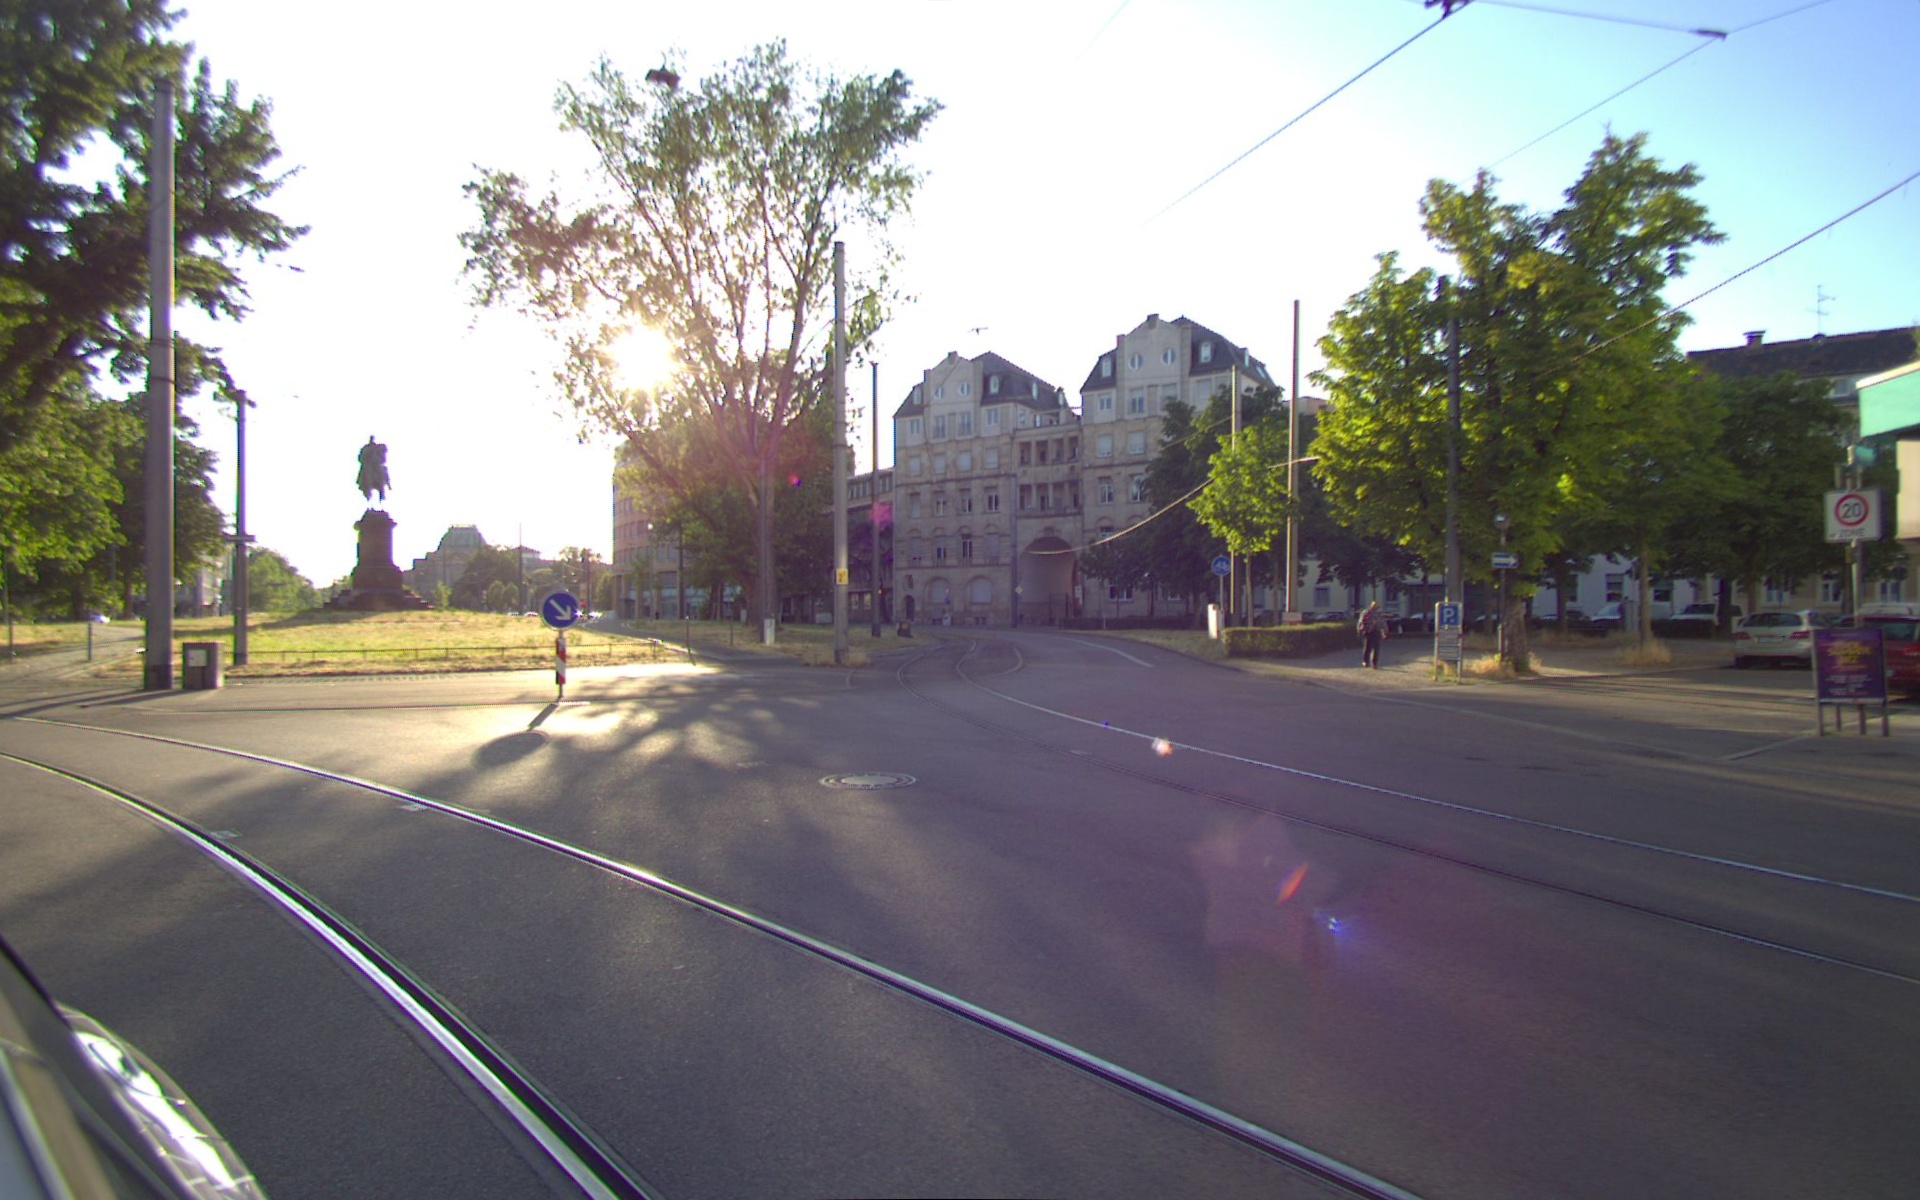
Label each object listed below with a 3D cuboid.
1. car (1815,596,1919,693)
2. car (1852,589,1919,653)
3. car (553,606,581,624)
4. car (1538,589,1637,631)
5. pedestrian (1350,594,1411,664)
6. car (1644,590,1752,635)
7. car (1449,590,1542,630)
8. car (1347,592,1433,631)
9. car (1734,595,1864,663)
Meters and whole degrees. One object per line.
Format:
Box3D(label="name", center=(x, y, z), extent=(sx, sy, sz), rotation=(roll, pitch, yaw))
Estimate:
Box3D(label="car", center=(16.683, 0.701, 17.133), extent=(3.931, 1.496, 2.034), rotation=(-1, 0, -28))
Box3D(label="car", center=(31.635, 0.646, 33.441), extent=(3.931, 2.029, 2.006), rotation=(0, 0, -29))
Box3D(label="car", center=(-45.747, 1.755, 117.735), extent=(1.967, 2.029, 4.559), rotation=(-1, 0, -36))
Box3D(label="car", center=(30.990, 0.478, 50.025), extent=(3.994, 2.029, 1.975), rotation=(-1, 0, 37))
Box3D(label="pedestrian", center=(10.636, 0.719, 25.617), extent=(0.892, 1.715, 1.166), rotation=(0, 0, -17))
Box3D(label="car", center=(34.493, 0.568, 47.400), extent=(3.994, 2.029, 1.975), rotation=(-1, 0, 37))
Box3D(label="car", center=(27.688, 0.509, 52.367), extent=(3.994, 2.029, 1.975), rotation=(-1, 0, 37))
Box3D(label="car", center=(23.487, 0.602, 55.338), extent=(3.994, 2.029, 1.975), rotation=(-1, 0, 37))
Box3D(label="car", center=(22.824, 0.733, 27.486), extent=(3.936, 1.696, 2.004), rotation=(0, 0, -39))
